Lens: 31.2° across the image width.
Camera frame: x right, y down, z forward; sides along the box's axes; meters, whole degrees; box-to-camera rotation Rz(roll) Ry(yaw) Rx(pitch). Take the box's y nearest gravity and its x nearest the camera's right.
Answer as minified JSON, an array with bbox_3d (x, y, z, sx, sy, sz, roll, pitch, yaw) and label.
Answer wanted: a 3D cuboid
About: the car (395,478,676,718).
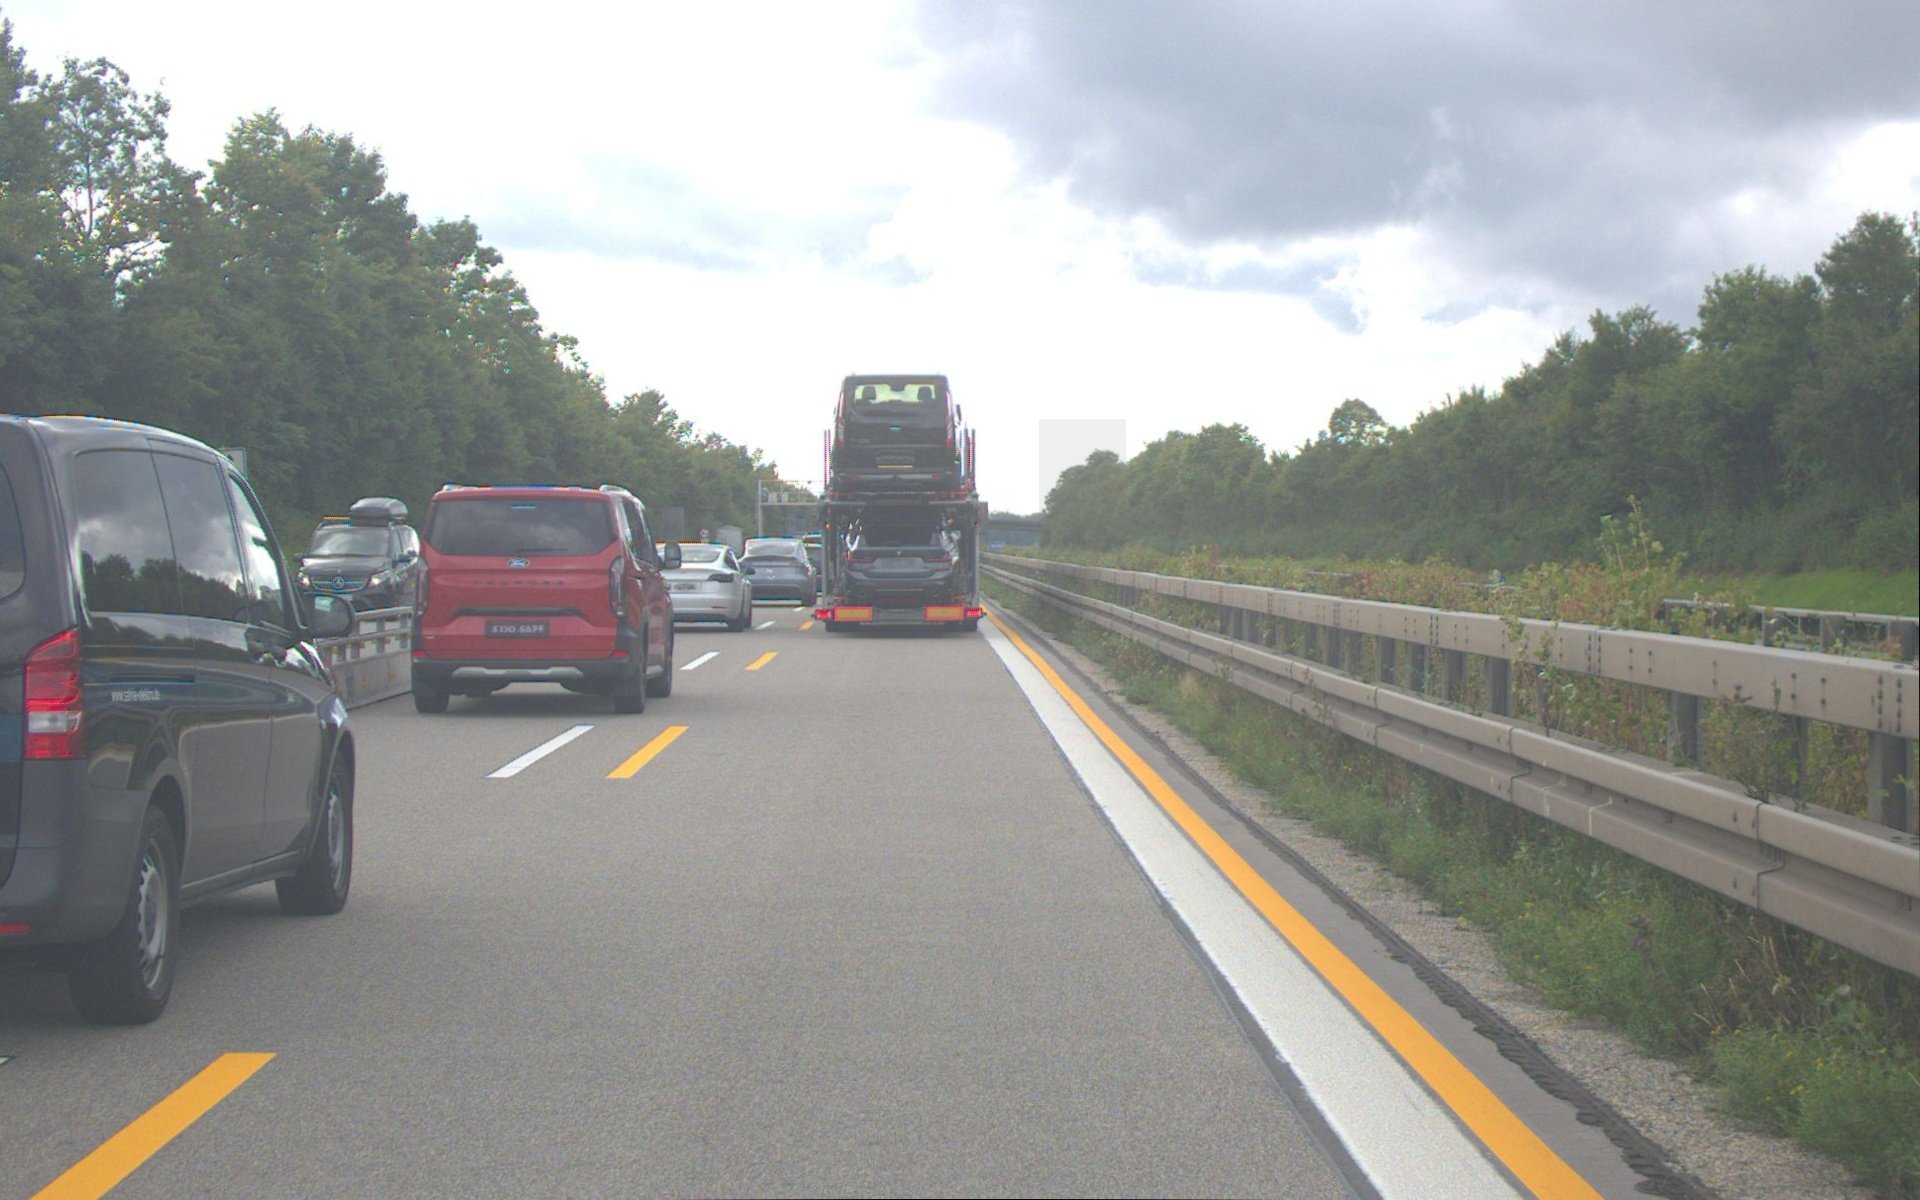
[{"bbox_3d":[-3.737,-0.051,31.032,2.031,2.007,4.578,0,1,-1],"label":"car"}]

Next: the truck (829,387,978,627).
[{"bbox_3d":[-0.976,-1.633,61.655,2.515,4.091,5.685,0,1,0],"label":"truck"}]

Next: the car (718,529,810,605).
[{"bbox_3d":[-4.608,-0.791,81.458,2.031,1.751,4.578,0,1,-1],"label":"car"}]

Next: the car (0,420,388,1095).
[{"bbox_3d":[-3.456,0.387,12.138,1.993,1.837,5.610,0,1,-1],"label":"car"}]

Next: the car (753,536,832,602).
[{"bbox_3d":[-4.521,-0.862,93.328,2.031,1.751,4.578,0,1,-2],"label":"car"}]

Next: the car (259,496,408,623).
[{"bbox_3d":[-11.620,-0.775,64.047,1.993,2.245,5.050,1,1,-2],"label":"car"}]

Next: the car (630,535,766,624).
[{"bbox_3d":[-4.321,-0.365,57.303,2.031,1.426,4.578,0,1,-1],"label":"car"}]

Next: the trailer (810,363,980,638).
[{"bbox_3d":[-0.979,-1.565,56.903,2.515,4.091,11.114,0,1,0],"label":"trailer"}]
